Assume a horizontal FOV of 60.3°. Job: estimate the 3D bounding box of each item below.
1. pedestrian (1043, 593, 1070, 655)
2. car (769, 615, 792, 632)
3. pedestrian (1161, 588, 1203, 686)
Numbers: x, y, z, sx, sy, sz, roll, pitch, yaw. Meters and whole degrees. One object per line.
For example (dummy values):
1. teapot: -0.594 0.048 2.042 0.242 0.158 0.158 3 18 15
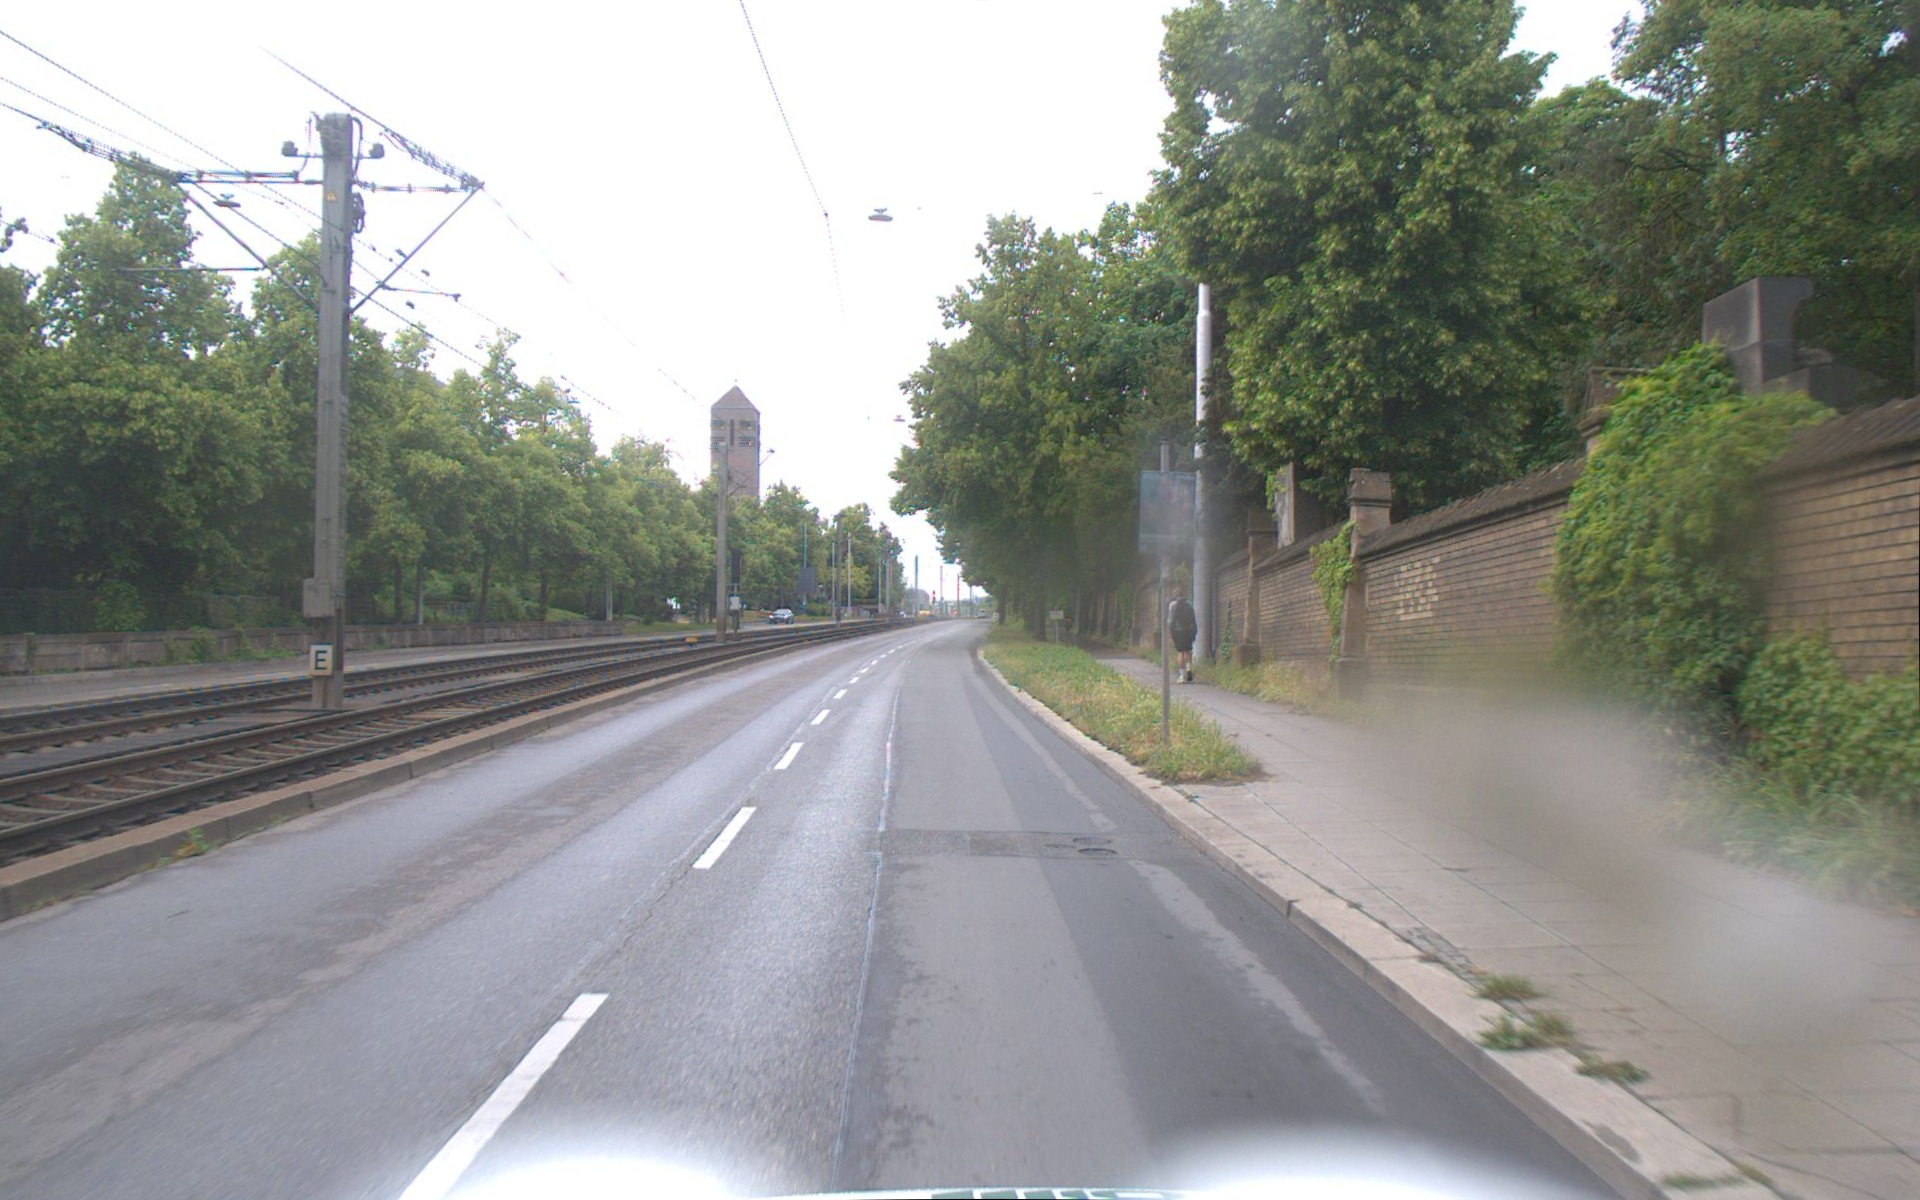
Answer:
1. pedestrian: 2.708 0.680 46.469 0.705 1.717 0.729 1 -1 1
2. car: -17.475 2.248 161.044 1.757 1.536 3.849 0 0 1
3. pedestrian: 4.333 0.725 32.326 0.705 1.882 0.783 1 -1 1
